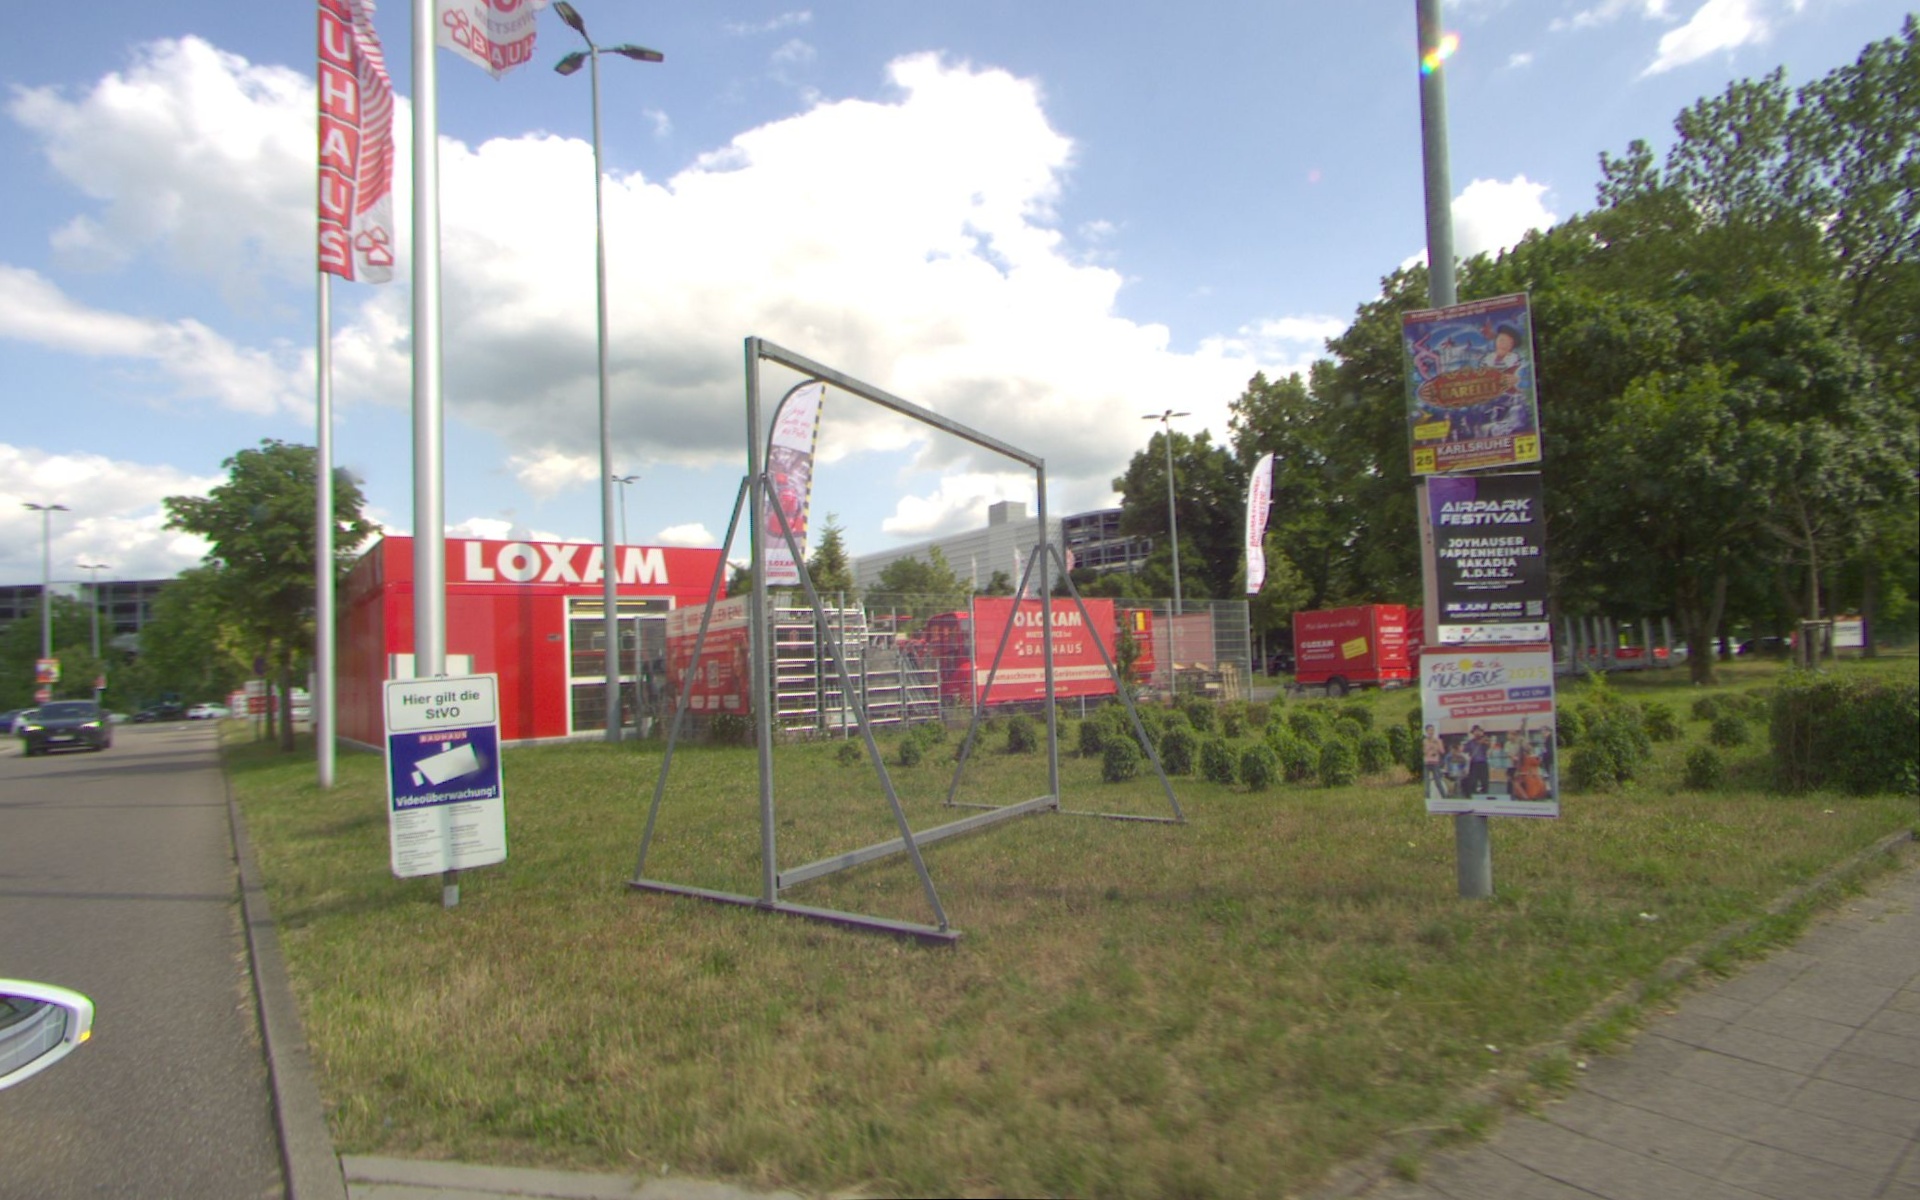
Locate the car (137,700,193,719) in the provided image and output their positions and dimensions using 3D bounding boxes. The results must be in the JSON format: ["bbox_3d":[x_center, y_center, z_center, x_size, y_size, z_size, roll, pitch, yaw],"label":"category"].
[{"bbox_3d":[-70.412,9.699,88.802,1.700,1.427,4.247,-3,-4,-2],"label":"car"}]

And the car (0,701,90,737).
[{"bbox_3d":[-44.573,5.767,48.844,2.843,1.533,1.532,-1,-3,-17],"label":"car"}]

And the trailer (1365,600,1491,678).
[{"bbox_3d":[13.126,1.122,28.176,1.483,2.038,2.776,0,-4,-39],"label":"trailer"}]

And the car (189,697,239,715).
[{"bbox_3d":[-66.098,9.383,88.767,1.638,1.428,3.561,-3,-4,2],"label":"car"}]

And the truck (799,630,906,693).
[{"bbox_3d":[-6.971,4.000,63.552,2.695,3.642,8.984,-1,-3,-35],"label":"truck"}]

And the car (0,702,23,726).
[{"bbox_3d":[-60.802,7.161,62.132,3.717,1.384,1.611,0,-4,-37],"label":"car"}]

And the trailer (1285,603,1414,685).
[{"bbox_3d":[10.327,1.203,26.660,1.481,2.038,2.780,0,-4,-34],"label":"trailer"}]

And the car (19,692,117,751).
[{"bbox_3d":[-28.805,3.878,32.461,1.897,1.638,4.347,-1,-3,-36],"label":"car"}]
